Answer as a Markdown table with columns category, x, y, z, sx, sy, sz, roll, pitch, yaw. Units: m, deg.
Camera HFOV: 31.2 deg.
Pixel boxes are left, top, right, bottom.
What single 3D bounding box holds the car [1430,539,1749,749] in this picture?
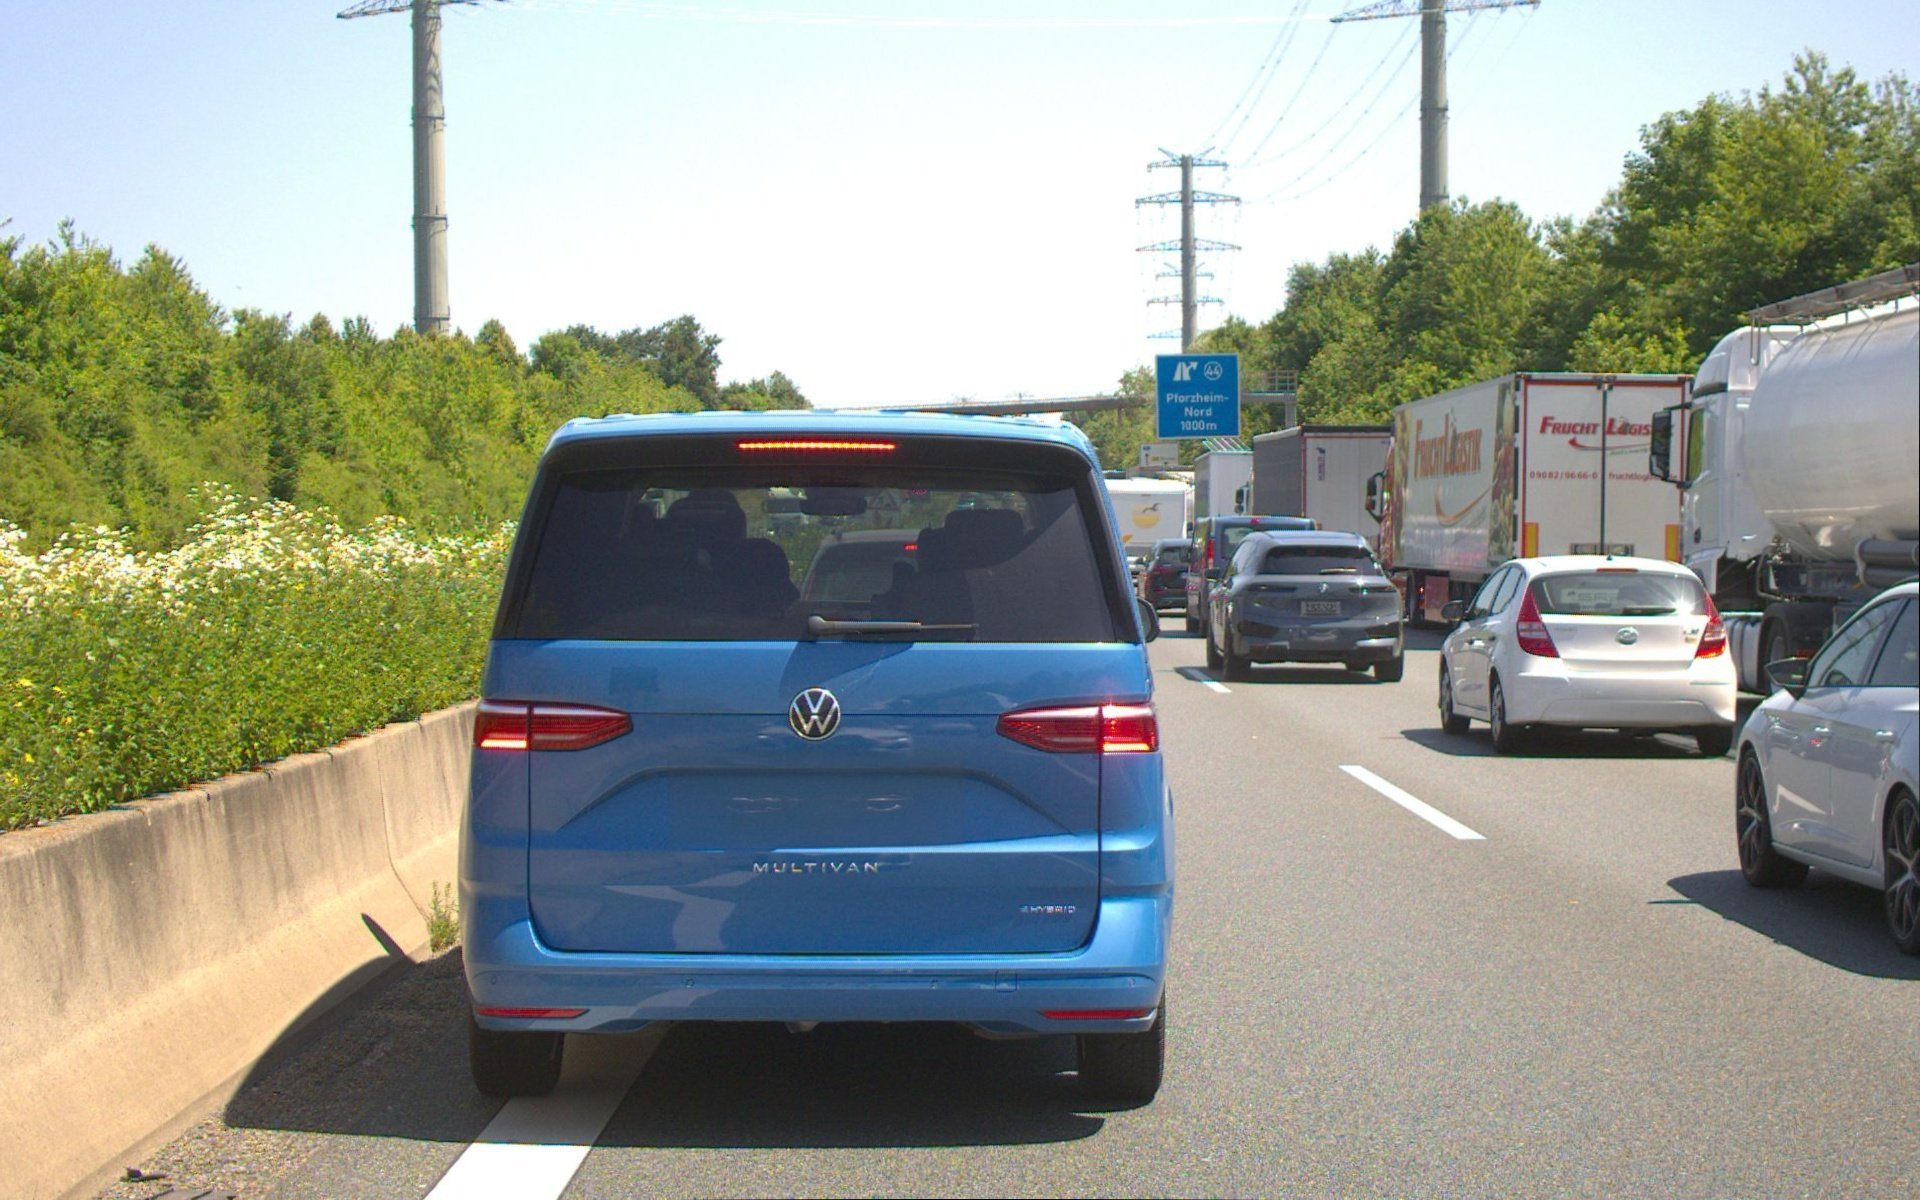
| category | x | y | z | sx | sy | sz | roll | pitch | yaw |
| --- | --- | --- | --- | --- | --- | --- | --- | --- | --- |
| car | 4.798 | 0.313 | 26.723 | 1.817 | 1.480 | 4.000 | -1 | 0 | 1 |

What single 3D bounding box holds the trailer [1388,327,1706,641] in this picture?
| category | x | y | z | sx | sy | sz | roll | pitch | yaw |
| --- | --- | --- | --- | --- | --- | --- | --- | --- | --- |
| trailer | 9.191 | -1.742 | 55.440 | 2.912 | 4.453 | 12.155 | -1 | 1 | 0 |

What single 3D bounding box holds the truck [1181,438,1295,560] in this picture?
| category | x | y | z | sx | sy | sz | roll | pitch | yaw |
| --- | --- | --- | --- | --- | --- | --- | --- | --- | --- |
| truck | 9.140 | -3.243 | 114.367 | 2.895 | 3.753 | 13.344 | 0 | 0 | 1 |

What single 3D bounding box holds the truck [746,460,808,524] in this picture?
| category | x | y | z | sx | sy | sz | roll | pitch | yaw |
| --- | --- | --- | --- | --- | --- | --- | --- | --- | --- |
| truck | -11.442 | -6.714 | 215.557 | 3.172 | 3.806 | 11.944 | 1 | 1 | 0 |

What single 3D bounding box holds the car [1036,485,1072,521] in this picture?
| category | x | y | z | sx | sy | sz | roll | pitch | yaw |
| --- | --- | --- | --- | --- | --- | --- | --- | --- | --- |
| car | 5.711 | -5.883 | 209.256 | 1.993 | 2.118 | 4.000 | 0 | 0 | 0 |

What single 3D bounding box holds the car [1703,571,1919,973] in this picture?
| category | x | y | z | sx | sy | sz | roll | pitch | yaw |
| --- | --- | --- | --- | --- | --- | --- | --- | --- | --- |
| car | 4.316 | 0.598 | 13.836 | 1.747 | 1.438 | 4.313 | -1 | 0 | 1 |

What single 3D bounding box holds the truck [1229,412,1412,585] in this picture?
| category | x | y | z | sx | sy | sz | roll | pitch | yaw |
| --- | --- | --- | --- | --- | --- | --- | --- | --- | --- |
| truck | 8.521 | -2.286 | 83.218 | 3.006 | 3.753 | 15.712 | 0 | 0 | 1 |

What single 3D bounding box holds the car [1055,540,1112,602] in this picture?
| category | x | y | z | sx | sy | sz | roll | pitch | yaw |
| --- | --- | --- | --- | --- | --- | --- | --- | --- | --- |
| car | 4.128 | -0.946 | 115.140 | 1.836 | 1.992 | 4.000 | -2 | 0 | 2 |

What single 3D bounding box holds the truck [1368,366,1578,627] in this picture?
| category | x | y | z | sx | sy | sz | roll | pitch | yaw |
| --- | --- | --- | --- | --- | --- | --- | --- | --- | --- |
| truck | 9.161 | -1.820 | 61.868 | 2.912 | 4.453 | 5.143 | -1 | 1 | 0 |

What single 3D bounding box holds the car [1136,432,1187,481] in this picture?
| category | x | y | z | sx | sy | sz | roll | pitch | yaw |
| --- | --- | --- | --- | --- | --- | --- | --- | --- | --- |
| car | 8.838 | -6.279 | 151.148 | 1.993 | 2.007 | 4.000 | 0 | 0 | 0 |

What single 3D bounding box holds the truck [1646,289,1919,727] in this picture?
| category | x | y | z | sx | sy | sz | roll | pitch | yaw |
| --- | --- | --- | --- | --- | --- | --- | --- | --- | --- |
| truck | 8.577 | -0.854 | 32.966 | 2.793 | 3.823 | 5.572 | -1 | 1 | 0 |

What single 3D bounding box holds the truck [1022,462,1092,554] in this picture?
| category | x | y | z | sx | sy | sz | roll | pitch | yaw |
| --- | --- | --- | --- | --- | --- | --- | --- | --- | --- |
| truck | 4.136 | -3.888 | 148.252 | 2.895 | 3.753 | 10.140 | 0 | 0 | 1 |

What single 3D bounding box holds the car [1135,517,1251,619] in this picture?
| category | x | y | z | sx | sy | sz | roll | pitch | yaw |
| --- | --- | --- | --- | --- | --- | --- | --- | --- | --- |
| car | 4.625 | -0.631 | 68.783 | 1.923 | 1.919 | 4.236 | -2 | 0 | -1 |

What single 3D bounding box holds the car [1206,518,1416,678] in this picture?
| category | x | y | z | sx | sy | sz | roll | pitch | yaw |
| --- | --- | --- | --- | --- | --- | --- | --- | --- | --- |
| car | 3.998 | -0.027 | 39.865 | 1.999 | 1.709 | 4.625 | -1 | 0 | 1 |

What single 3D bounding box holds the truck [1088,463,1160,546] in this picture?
| category | x | y | z | sx | sy | sz | roll | pitch | yaw |
| --- | --- | --- | --- | --- | --- | --- | --- | --- | --- |
| truck | 9.313 | -5.407 | 196.410 | 3.566 | 4.502 | 10.294 | 0 | 0 | 0 |

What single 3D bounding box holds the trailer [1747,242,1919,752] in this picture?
| category | x | y | z | sx | sy | sz | roll | pitch | yaw |
| --- | --- | --- | --- | --- | --- | --- | --- | --- | --- |
| trailer | 8.613 | -0.787 | 25.598 | 2.761 | 3.831 | 11.487 | -1 | 1 | 0 |

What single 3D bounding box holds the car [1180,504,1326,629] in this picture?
| category | x | y | z | sx | sy | sz | roll | pitch | yaw |
| --- | --- | --- | --- | --- | --- | --- | --- | --- | --- |
| car | 4.770 | -0.534 | 56.409 | 1.923 | 1.919 | 4.236 | -2 | 0 | -1 |

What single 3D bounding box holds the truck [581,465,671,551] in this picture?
| category | x | y | z | sx | sy | sz | roll | pitch | yaw |
| --- | --- | --- | --- | --- | --- | --- | --- | --- | --- |
| truck | -15.361 | -4.197 | 158.953 | 2.911 | 3.806 | 11.944 | 1 | 1 | 0 |

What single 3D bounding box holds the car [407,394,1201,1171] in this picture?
| category | x | y | z | sx | sy | sz | roll | pitch | yaw |
| --- | --- | --- | --- | --- | --- | --- | --- | --- | --- |
| car | -0.375 | 0.410 | 10.394 | 1.920 | 1.880 | 4.000 | 1 | 1 | 0 |

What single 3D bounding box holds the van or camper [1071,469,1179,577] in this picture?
| category | x | y | z | sx | sy | sz | roll | pitch | yaw |
| --- | --- | --- | --- | --- | --- | --- | --- | --- | --- |
| van or camper | 4.742 | -2.193 | 99.978 | 2.957 | 3.011 | 7.102 | 0 | 0 | 2 |

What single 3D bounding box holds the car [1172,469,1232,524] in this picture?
| category | x | y | z | sx | sy | sz | roll | pitch | yaw |
| --- | --- | --- | --- | --- | --- | --- | --- | --- | --- |
| car | 9.198 | -3.927 | 130.912 | 1.993 | 2.007 | 4.000 | 0 | 0 | 0 |
